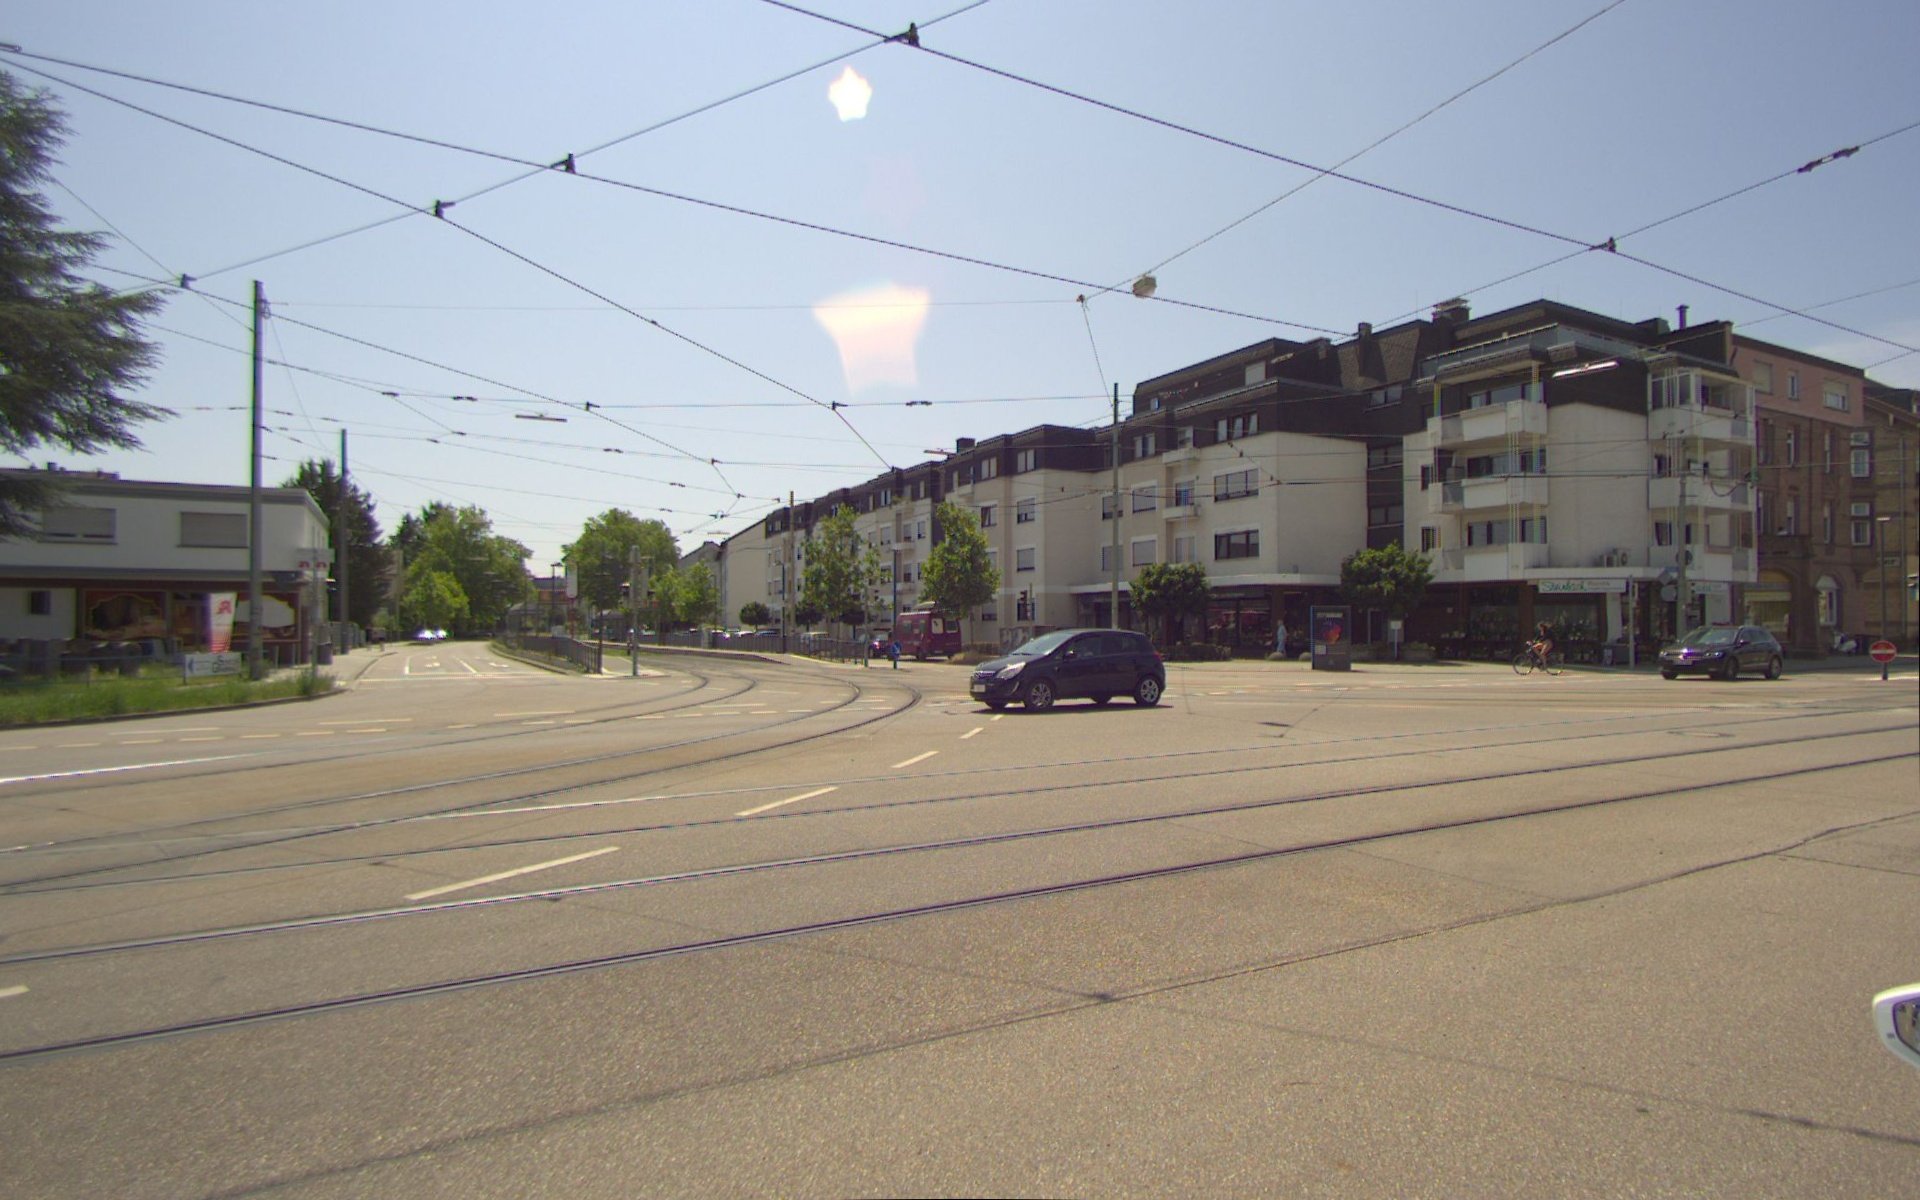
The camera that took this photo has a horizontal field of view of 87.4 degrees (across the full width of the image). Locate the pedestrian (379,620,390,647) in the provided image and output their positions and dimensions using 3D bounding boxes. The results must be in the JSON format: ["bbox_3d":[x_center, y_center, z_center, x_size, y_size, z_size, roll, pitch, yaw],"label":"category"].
[{"bbox_3d":[-41.800,2.409,72.975,0.671,1.927,0.644,1,-1,-29],"label":"pedestrian"}]

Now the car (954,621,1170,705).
[{"bbox_3d":[1.950,1.127,19.075,3.817,1.457,1.703,1,-2,-28],"label":"car"}]

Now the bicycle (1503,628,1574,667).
[{"bbox_3d":[20.014,1.634,34.767,2.064,1.322,0.679,0,-2,-2],"label":"bicycle"}]

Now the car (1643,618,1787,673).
[{"bbox_3d":[23.217,1.363,30.875,4.437,1.600,1.787,0,-2,-27],"label":"car"}]

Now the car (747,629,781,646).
[{"bbox_3d":[-14.670,2.785,75.212,1.570,1.256,3.556,1,-2,-28],"label":"car"}]

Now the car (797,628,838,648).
[{"bbox_3d":[-9.262,2.463,65.269,1.570,1.256,3.556,1,-2,-28],"label":"car"}]

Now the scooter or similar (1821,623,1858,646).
[{"bbox_3d":[42.746,1.651,48.814,1.549,1.096,0.488,0,-1,-12],"label":"scooter or similar"}]

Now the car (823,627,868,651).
[{"bbox_3d":[-6.974,2.349,60.881,1.570,1.452,3.556,1,-2,-28],"label":"car"}]

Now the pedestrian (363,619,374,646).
[{"bbox_3d":[-42.623,2.366,72.388,0.671,1.927,0.644,1,-1,-29],"label":"pedestrian"}]

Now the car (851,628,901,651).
[{"bbox_3d":[-4.761,2.229,56.624,1.570,1.235,3.556,1,-2,-28],"label":"car"}]

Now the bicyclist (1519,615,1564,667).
[{"bbox_3d":[20.120,1.413,34.777,1.113,1.786,0.734,0,-1,-2],"label":"bicyclist"}]

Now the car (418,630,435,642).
[{"bbox_3d":[-57.679,3.904,108.607,1.579,1.243,3.274,1,-2,-29],"label":"car"}]

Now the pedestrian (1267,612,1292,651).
[{"bbox_3d":[13.898,1.370,43.712,0.793,1.719,0.701,0,-1,-8],"label":"pedestrian"}]

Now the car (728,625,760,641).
[{"bbox_3d":[-17.239,2.622,80.059,1.570,1.256,3.556,1,-2,-28],"label":"car"}]

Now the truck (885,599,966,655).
[{"bbox_3d":[-1.831,1.391,51.512,2.160,2.734,5.007,1,-2,-28],"label":"truck"}]
